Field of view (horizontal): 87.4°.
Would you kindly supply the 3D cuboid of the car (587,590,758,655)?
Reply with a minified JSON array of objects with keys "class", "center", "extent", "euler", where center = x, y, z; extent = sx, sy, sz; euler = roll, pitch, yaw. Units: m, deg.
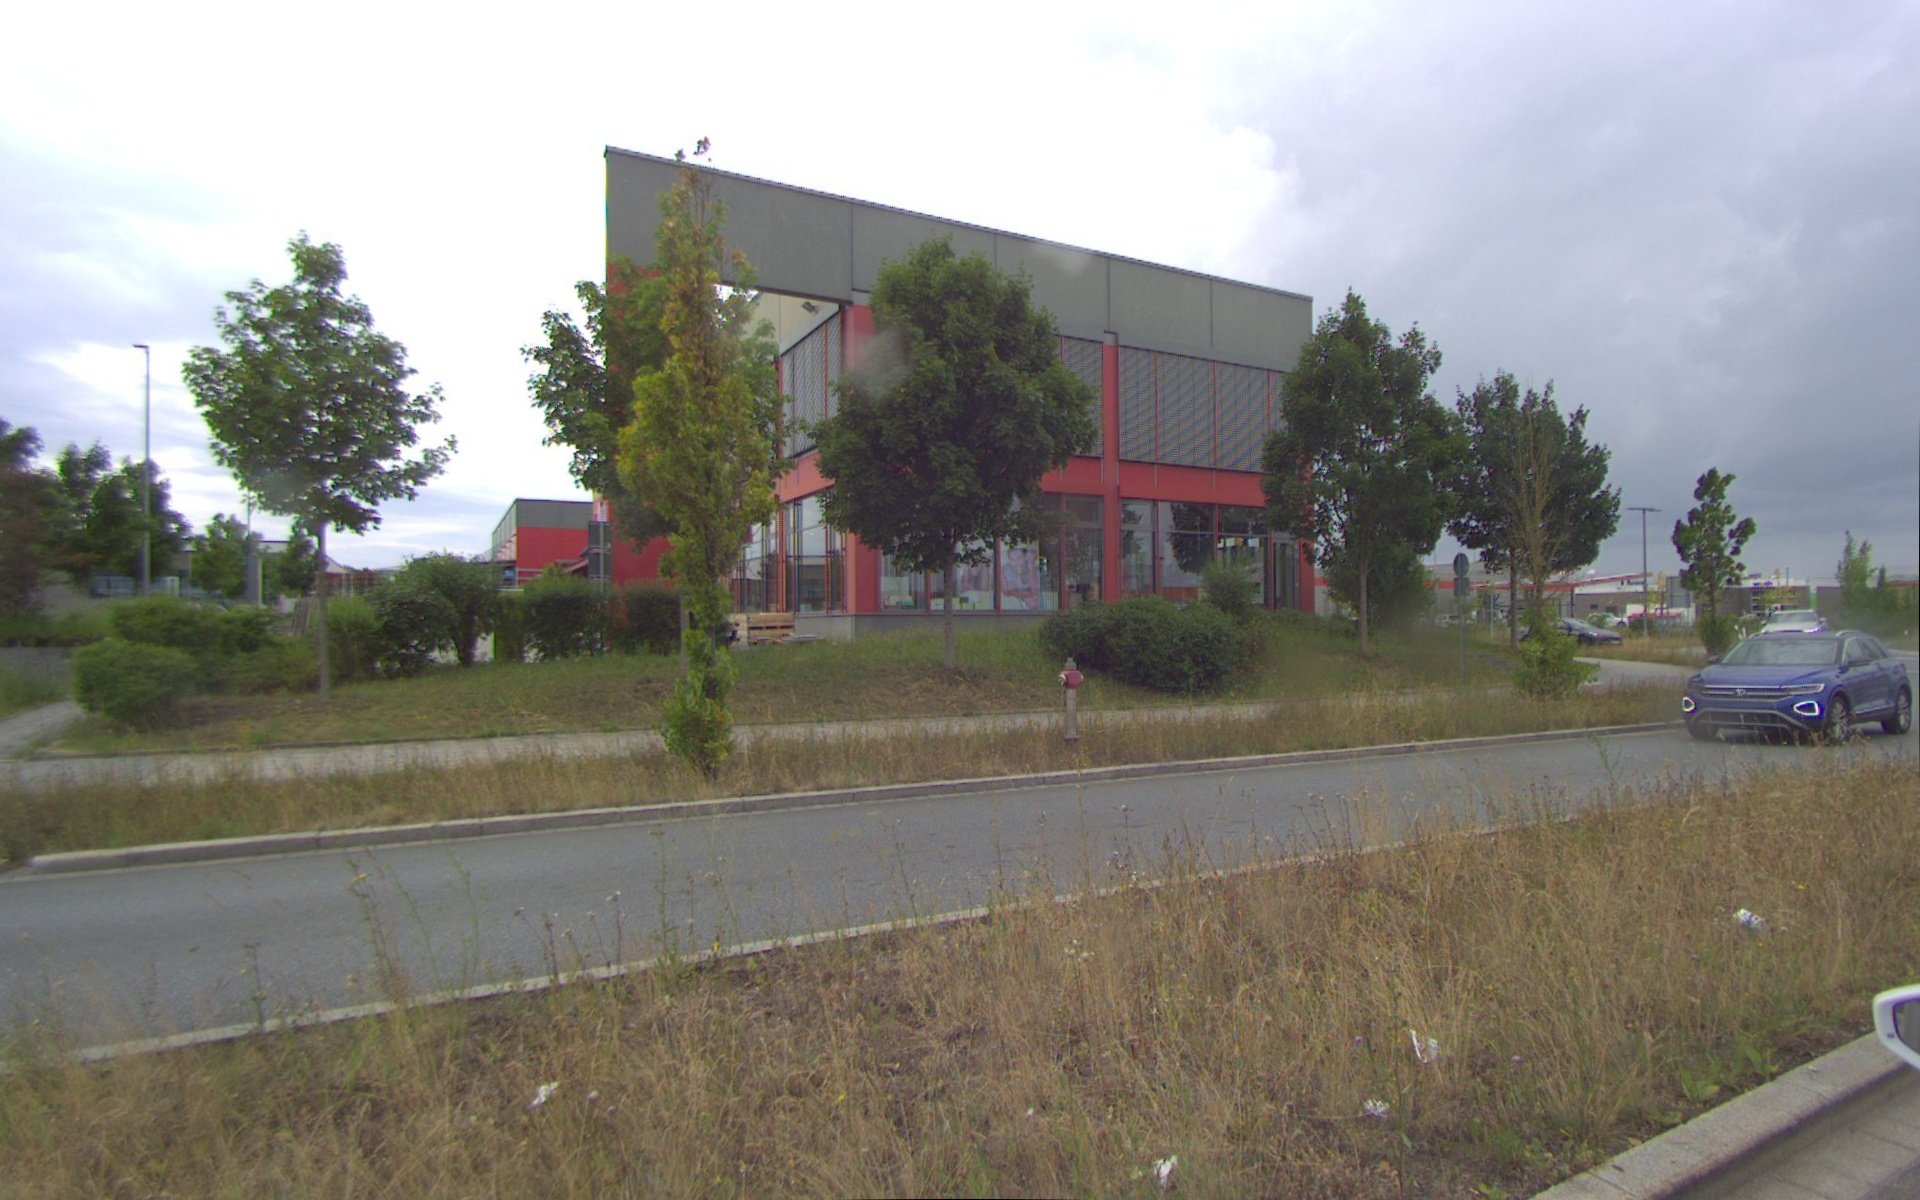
[{"class":"car","center":[-7.634,0.587,26.573],"extent":[4.311,1.572,1.995],"euler":[0,-1,32]}]

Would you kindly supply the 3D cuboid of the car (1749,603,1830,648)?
[{"class":"car","center":[33.783,1.029,40.885],"extent":[4.184,1.713,2.008],"euler":[1,-2,-43]}]

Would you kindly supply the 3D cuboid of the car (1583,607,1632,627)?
[{"class":"car","center":[68.612,1.793,106.520],"extent":[1.977,2.040,3.967],"euler":[1,-1,-30]}]

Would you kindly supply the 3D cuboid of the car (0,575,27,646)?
[{"class":"car","center":[-30.097,0.290,28.739],"extent":[4.582,2.060,1.985],"euler":[1,-2,-29]}]

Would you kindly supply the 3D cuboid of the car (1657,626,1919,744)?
[{"class":"car","center":[12.501,1.215,15.110],"extent":[4.182,1.548,1.831],"euler":[2,-4,-33]}]

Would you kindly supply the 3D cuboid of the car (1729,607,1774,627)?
[{"class":"car","center":[74.313,1.588,94.317],"extent":[3.951,1.884,1.985],"euler":[1,-1,-29]}]

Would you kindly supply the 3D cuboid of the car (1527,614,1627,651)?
[{"class":"car","center":[26.697,1.372,43.627],"extent":[1.746,1.504,4.413],"euler":[0,-1,1]}]
